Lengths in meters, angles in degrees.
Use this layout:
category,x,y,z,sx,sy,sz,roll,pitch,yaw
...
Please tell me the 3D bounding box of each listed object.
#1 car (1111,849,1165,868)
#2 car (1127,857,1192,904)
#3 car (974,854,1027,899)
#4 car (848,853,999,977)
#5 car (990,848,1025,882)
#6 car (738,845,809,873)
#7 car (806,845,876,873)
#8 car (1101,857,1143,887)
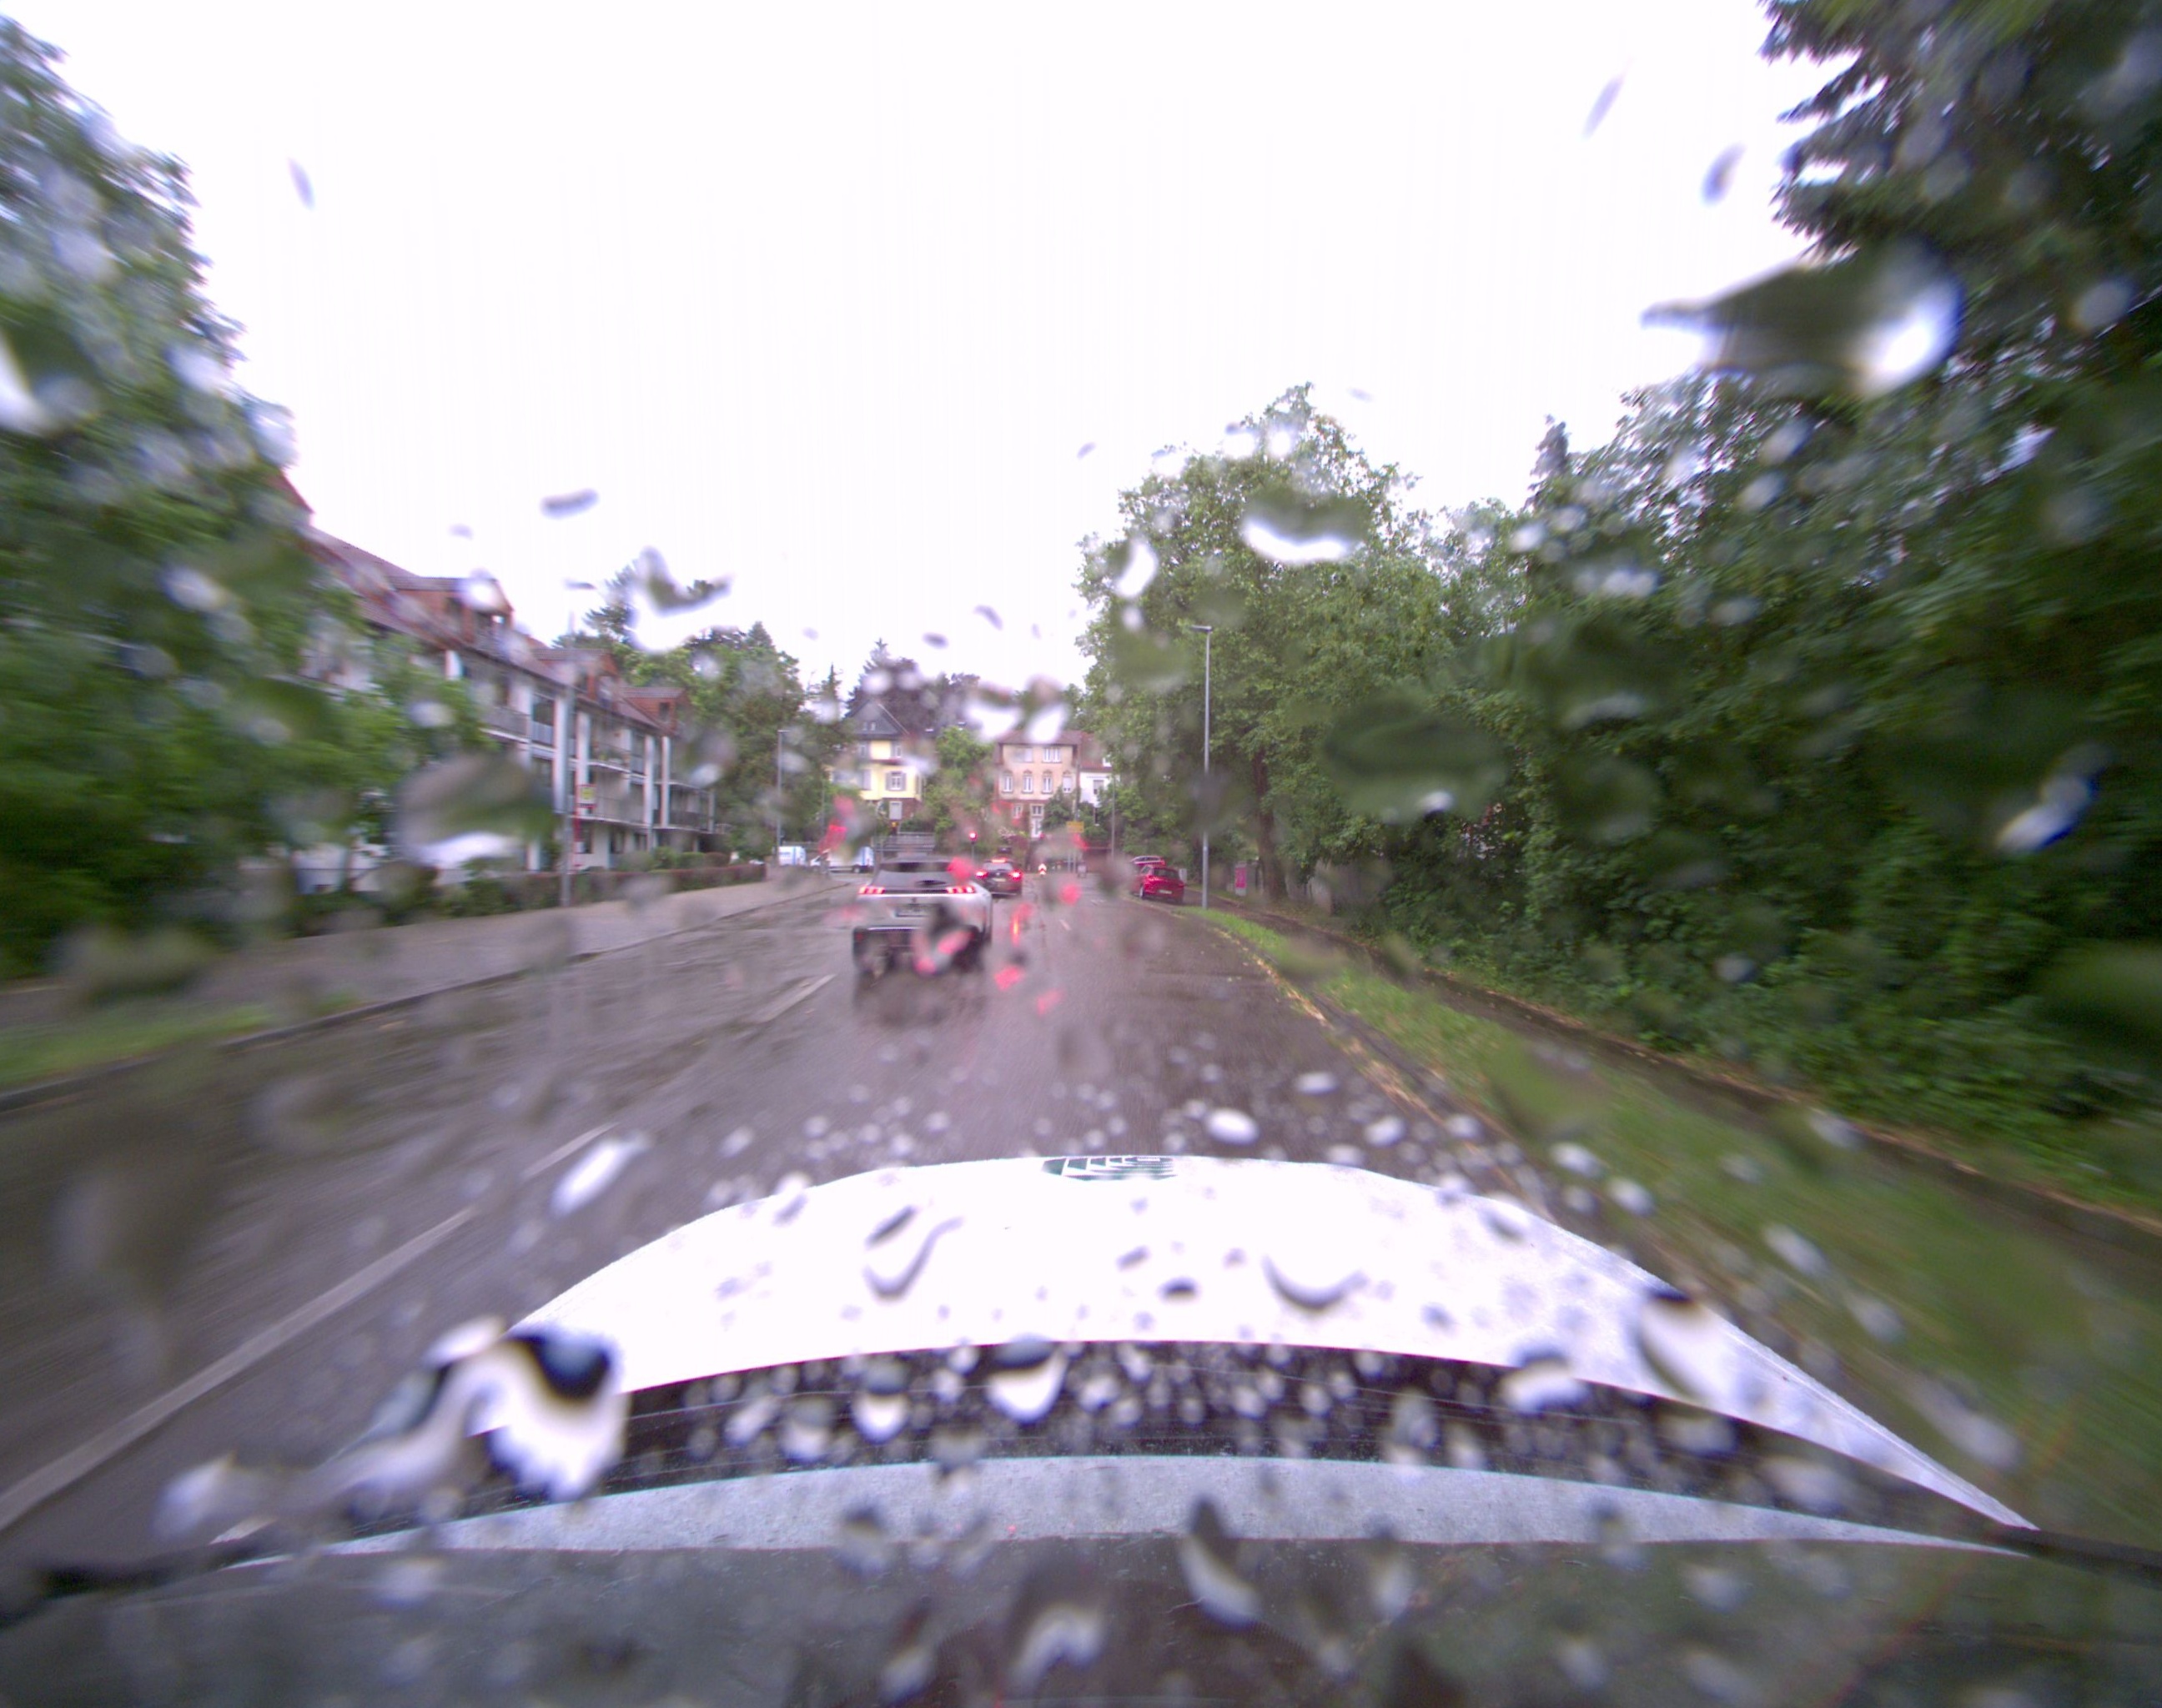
category,x,y,z,sx,sy,sz,roll,pitch,yaw
car,5.038,0.385,72.201,4.558,1.601,1.772,-1,-1,-3
car,3.239,1.073,34.343,1.817,1.517,3.735,7,1,-7
car,-3.084,0.821,31.856,1.828,1.456,4.652,3,1,-4
car,-2.215,0.774,12.516,1.749,1.536,4.361,-1,0,-4
car,-4.104,0.559,45.300,1.758,1.711,4.592,2,1,-6
car,-27.974,0.484,74.263,5.550,2.494,2.313,1,-2,-3
car,-21.887,0.473,74.510,5.647,2.494,2.313,1,-2,-3
car,2.154,0.946,43.687,1.746,1.492,3.594,3,-1,-4
